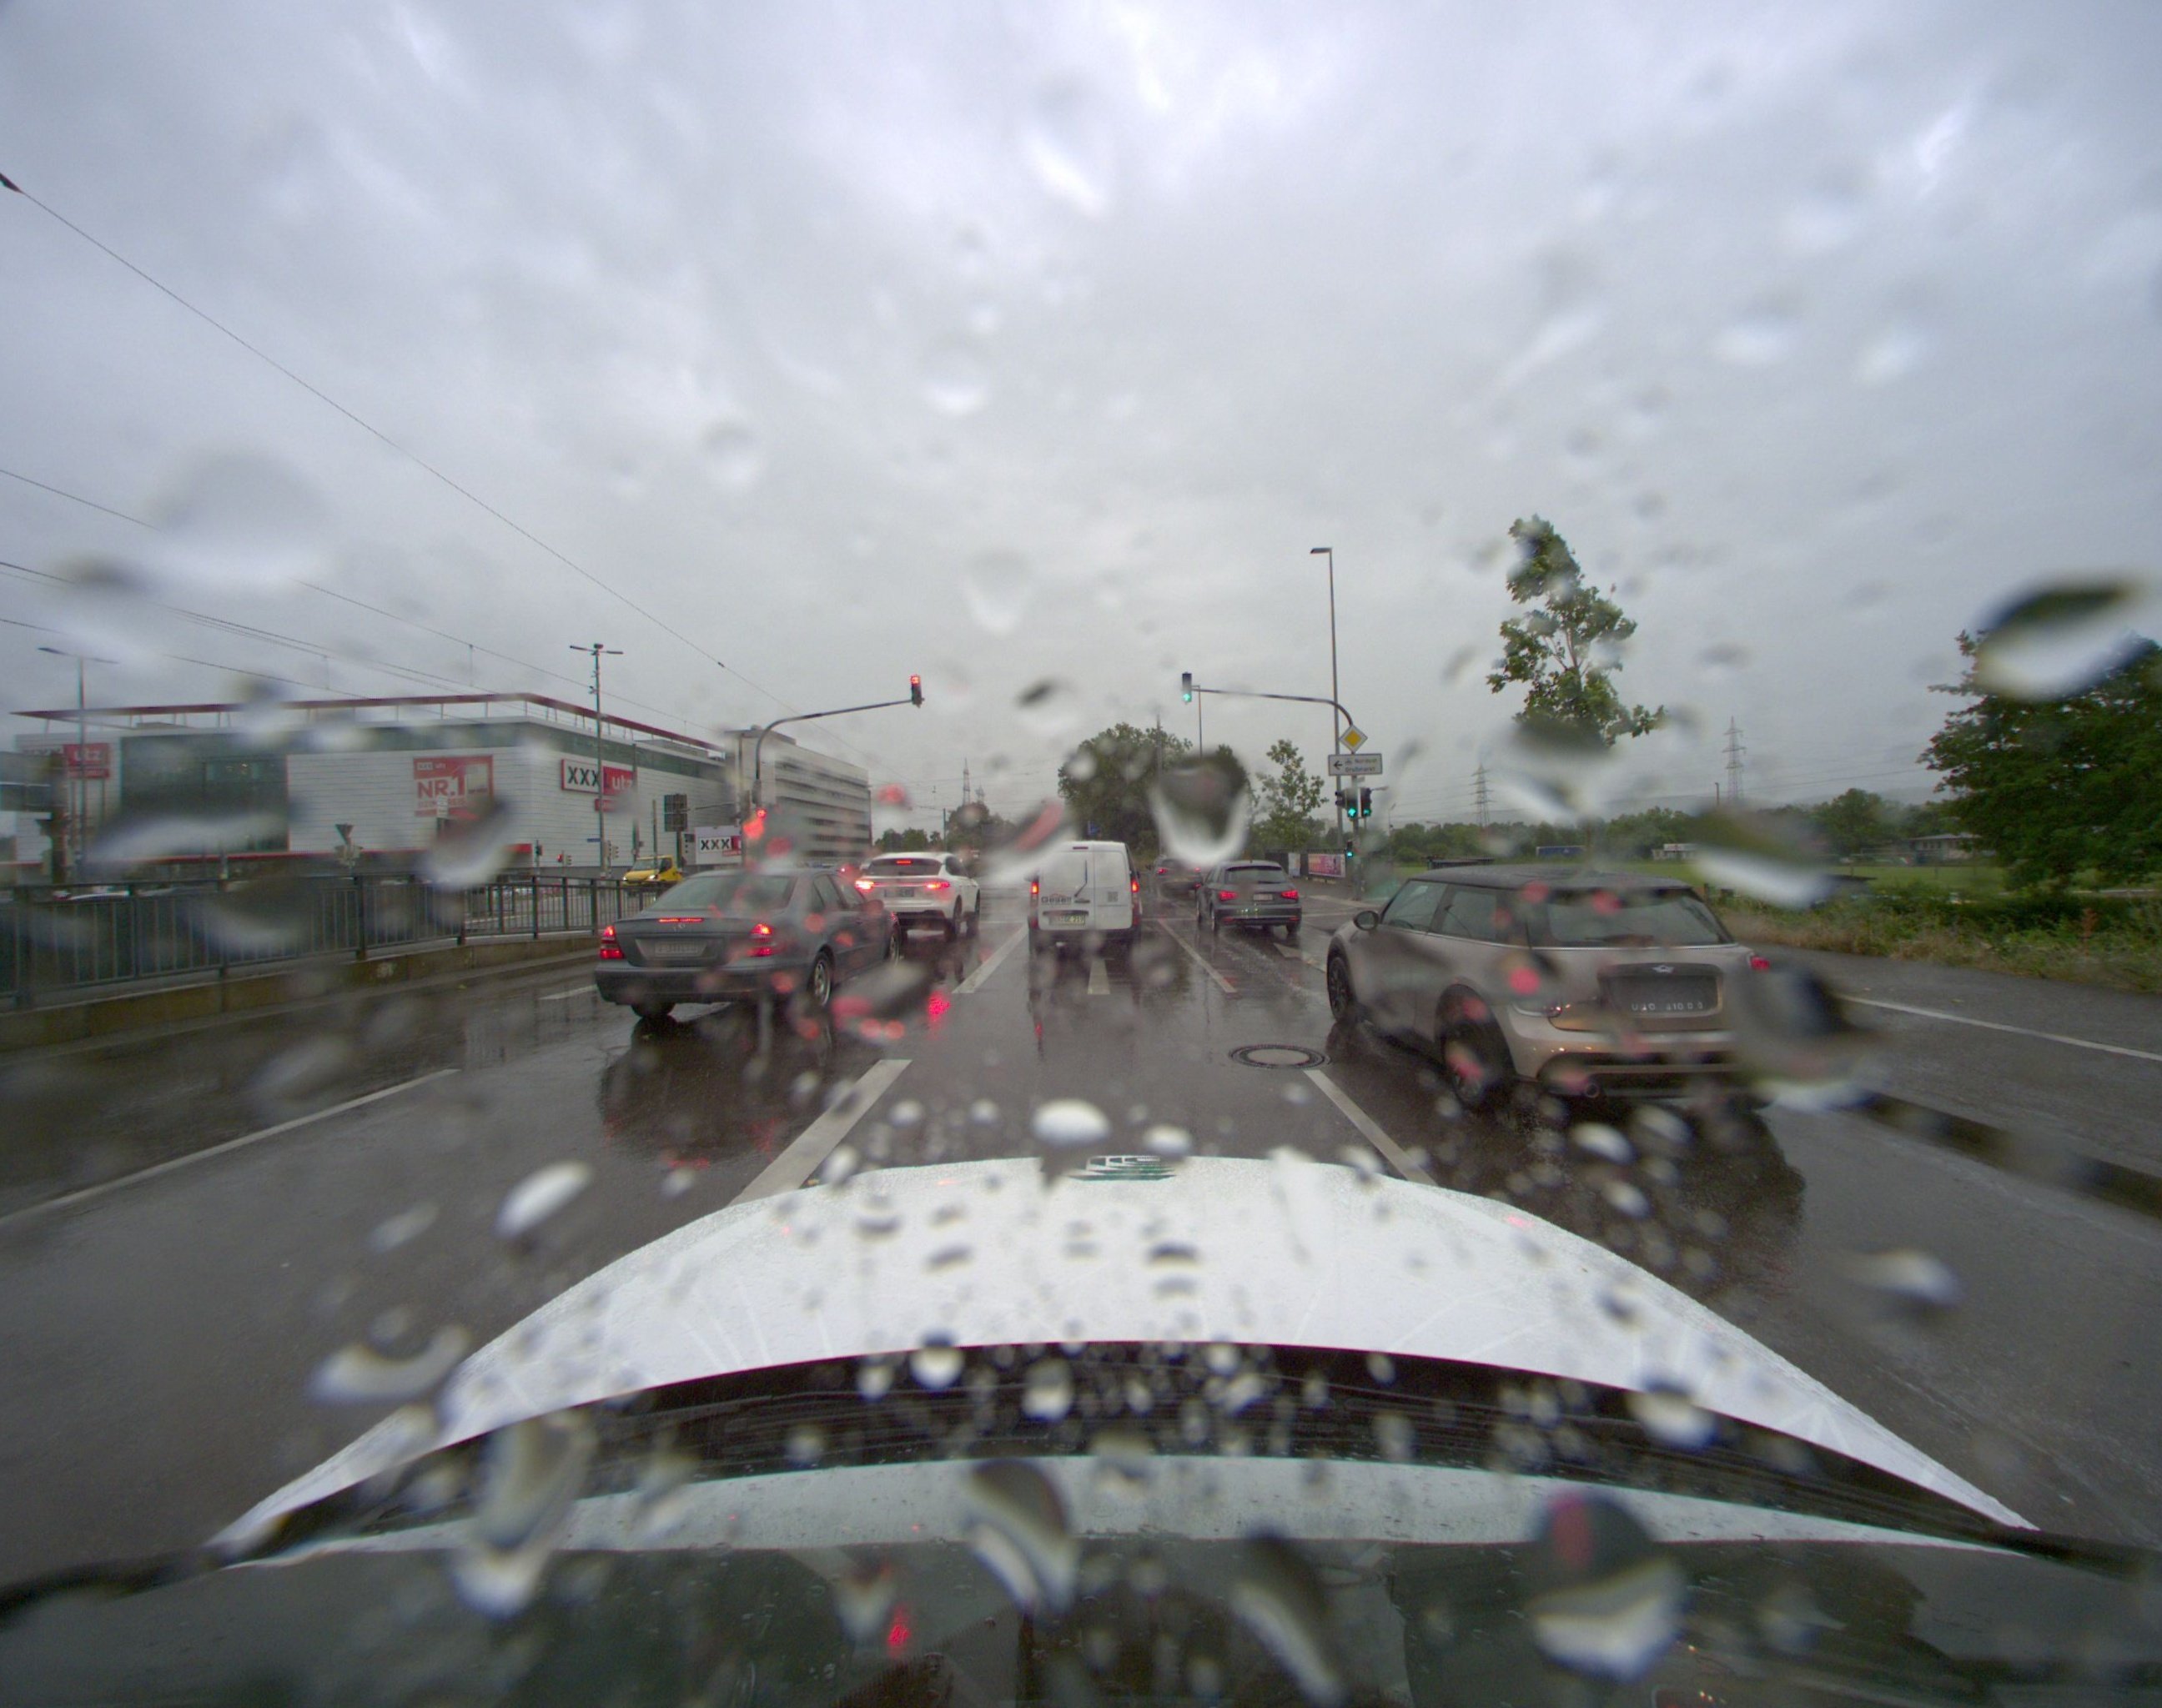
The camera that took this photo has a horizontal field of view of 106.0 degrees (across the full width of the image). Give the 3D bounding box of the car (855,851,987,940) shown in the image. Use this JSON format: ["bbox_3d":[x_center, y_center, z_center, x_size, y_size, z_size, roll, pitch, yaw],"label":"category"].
[{"bbox_3d":[-3.037,0.705,16.315,1.723,1.535,4.298,0,0,1],"label":"car"}]

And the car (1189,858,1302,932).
[{"bbox_3d":[3.246,0.767,16.669,1.623,1.344,3.624,0,-1,1],"label":"car"}]

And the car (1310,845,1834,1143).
[{"bbox_3d":[3.025,0.722,5.987,1.707,1.508,3.624,0,0,1],"label":"car"}]

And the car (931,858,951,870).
[{"bbox_3d":[-17.707,1.248,103.096,1.755,1.550,3.683,0,-1,3],"label":"car"}]

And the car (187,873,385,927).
[{"bbox_3d":[-22.199,1.240,22.970,1.579,1.336,3.837,-1,-1,6],"label":"car"}]

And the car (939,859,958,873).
[{"bbox_3d":[-17.928,1.575,110.277,1.816,1.807,3.772,0,-1,3],"label":"car"}]

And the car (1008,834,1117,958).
[{"bbox_3d":[-0.206,0.626,13.841,1.560,1.788,4.001,-1,-1,2],"label":"car"}]

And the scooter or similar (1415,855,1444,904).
[{"bbox_3d":[8.426,0.612,19.731,0.244,1.158,1.187,0,-1,3],"label":"scooter or similar"}]

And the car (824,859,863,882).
[{"bbox_3d":[-19.457,1.382,66.776,1.838,1.798,4.002,-1,-2,3],"label":"car"}]

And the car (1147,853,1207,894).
[{"bbox_3d":[3.556,0.690,30.738,1.853,1.428,3.808,0,0,1],"label":"car"}]

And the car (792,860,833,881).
[{"bbox_3d":[-22.235,1.413,67.518,1.720,1.661,3.545,0,-3,9],"label":"car"}]

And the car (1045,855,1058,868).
[{"bbox_3d":[-4.555,1.133,124.579,1.988,1.860,3.996,0,-1,-2],"label":"car"}]

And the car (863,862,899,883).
[{"bbox_3d":[-18.413,1.687,75.092,1.919,1.827,4.007,-1,-1,6],"label":"car"}]

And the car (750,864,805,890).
[{"bbox_3d":[-20.402,1.517,54.992,1.883,1.699,4.006,-1,-1,6],"label":"car"}]

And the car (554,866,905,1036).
[{"bbox_3d":[-3.409,0.843,9.064,1.755,1.398,4.646,0,-1,2],"label":"car"}]

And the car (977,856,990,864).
[{"bbox_3d":[-19.973,1.277,166.828,1.985,1.708,4.003,0,-1,3],"label":"car"}]

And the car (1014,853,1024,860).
[{"bbox_3d":[-16.420,0.755,215.928,1.985,1.757,4.003,0,-1,3],"label":"car"}]

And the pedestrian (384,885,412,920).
[{"bbox_3d":[-31.273,2.216,37.303,0.561,1.537,0.872,0,-1,1],"label":"pedestrian"}]

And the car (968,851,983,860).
[{"bbox_3d":[-19.733,0.262,152.020,1.985,1.663,4.003,0,-1,3],"label":"car"}]

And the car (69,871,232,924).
[{"bbox_3d":[-37.425,1.714,32.838,4.298,2.014,2.001,0,-1,1],"label":"car"}]

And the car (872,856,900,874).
[{"bbox_3d":[-21.830,1.221,91.287,1.984,2.014,4.005,0,-1,4],"label":"car"}]

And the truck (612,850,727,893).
[{"bbox_3d":[-23.821,0.995,47.613,2.341,2.279,7.642,0,-1,4],"label":"truck"}]

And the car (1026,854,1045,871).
[{"bbox_3d":[-5.147,0.932,92.026,1.990,1.860,3.993,0,-1,-5],"label":"car"}]

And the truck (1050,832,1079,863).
[{"bbox_3d":[-1.564,-0.574,78.831,2.625,2.816,7.141,-1,-1,-1],"label":"truck"}]
